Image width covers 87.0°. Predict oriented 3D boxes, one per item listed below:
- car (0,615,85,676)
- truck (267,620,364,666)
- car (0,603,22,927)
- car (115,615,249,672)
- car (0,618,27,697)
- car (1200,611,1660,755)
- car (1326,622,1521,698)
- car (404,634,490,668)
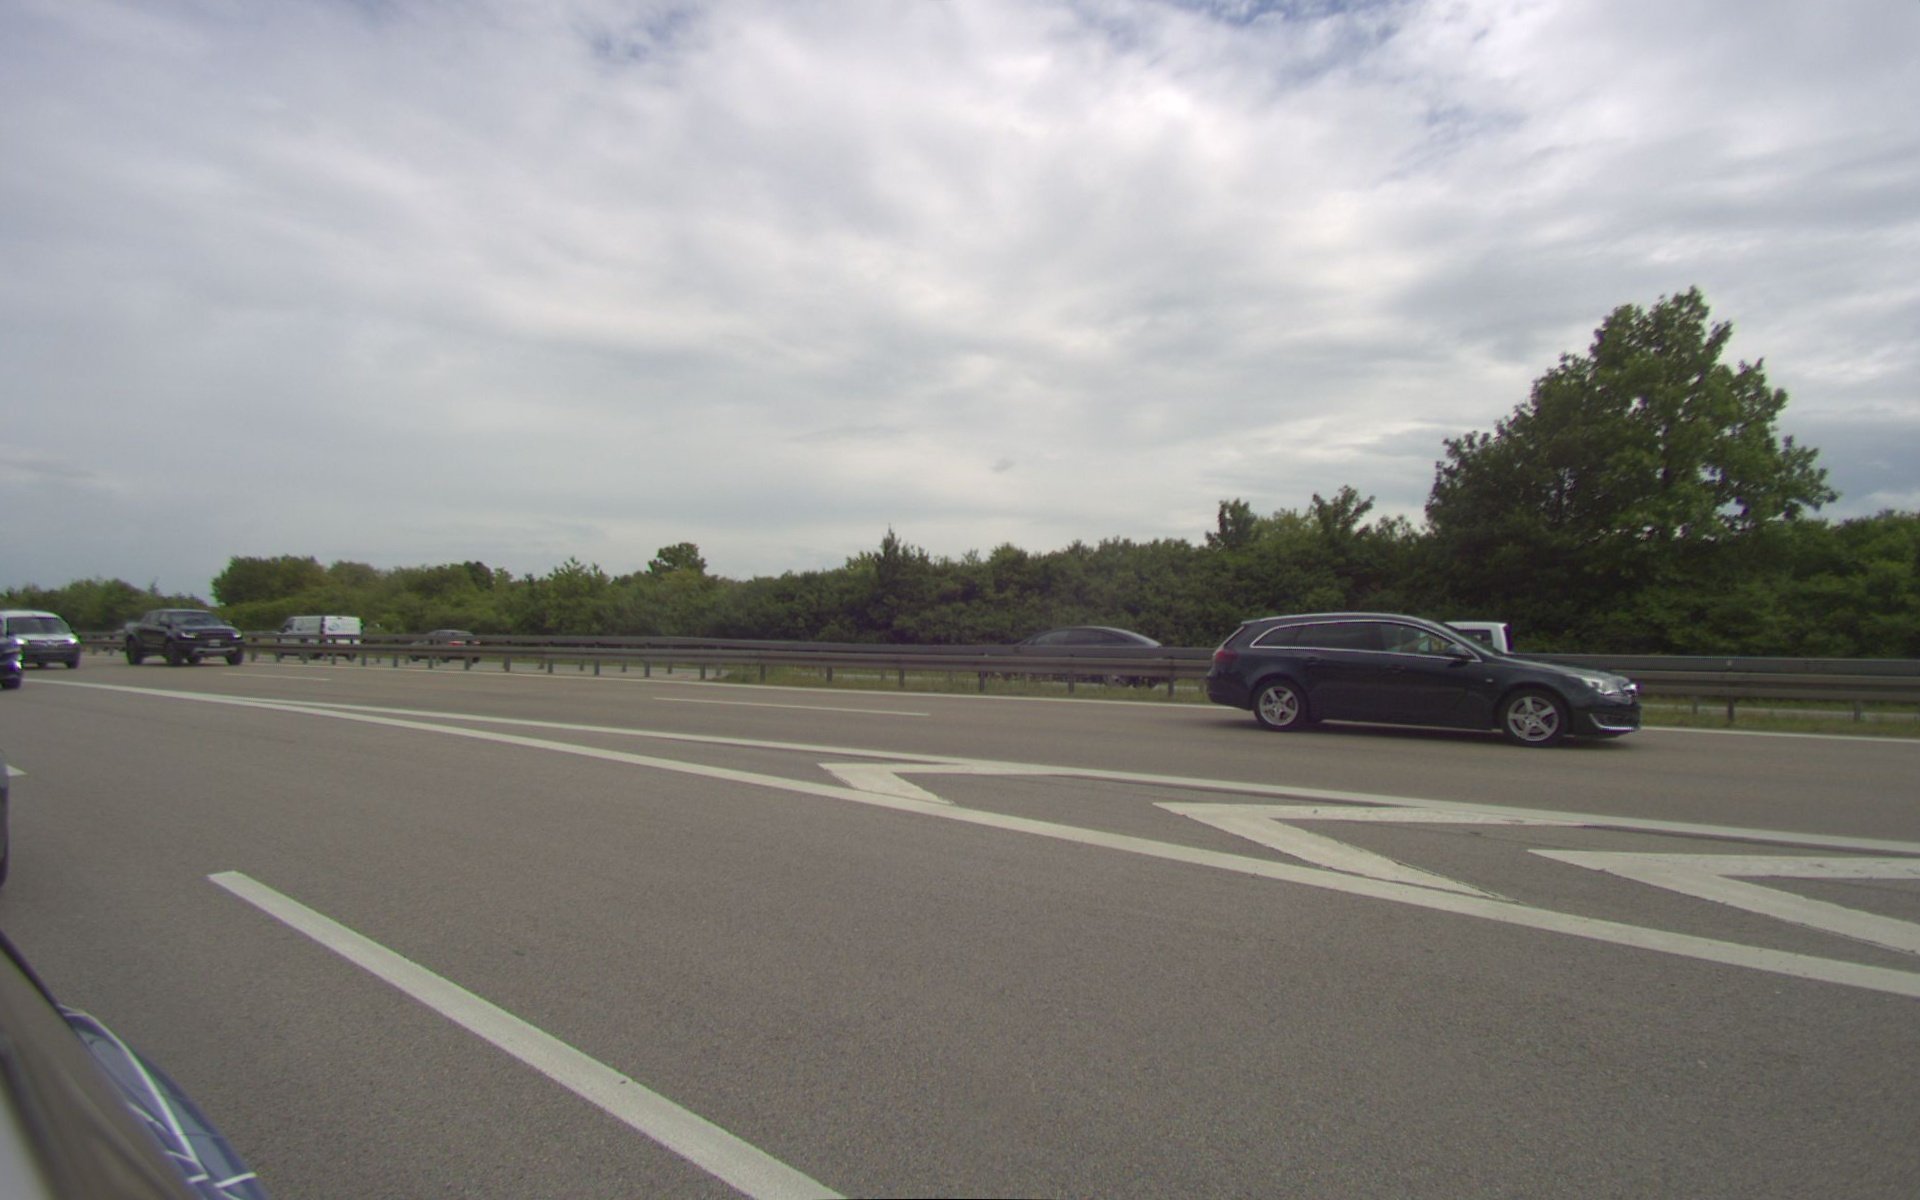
[{"bbox_3d":[-29.110,1.386,31.405,4.475,1.765,1.861,-1,-2,34],"label":"car"},{"bbox_3d":[-29.665,1.961,46.548,4.705,2.029,1.977,-1,-2,33],"label":"truck"},{"bbox_3d":[-6.561,0.795,5.289,4.023,1.509,1.826,-1,-1,38],"label":"car"},{"bbox_3d":[-26.340,1.431,34.196,5.397,1.799,1.977,-1,-2,34],"label":"car"},{"bbox_3d":[-21.359,1.198,21.490,4.495,1.578,1.814,-1,-2,41],"label":"car"},{"bbox_3d":[5.489,0.897,12.212,4.784,1.435,1.708,-1,-2,34],"label":"car"},{"bbox_3d":[11.017,1.366,24.125,3.988,1.663,1.978,-1,-2,33],"label":"car"},{"bbox_3d":[-24.350,2.400,47.997,3.990,1.530,1.977,-1,-2,34],"label":"car"}]
